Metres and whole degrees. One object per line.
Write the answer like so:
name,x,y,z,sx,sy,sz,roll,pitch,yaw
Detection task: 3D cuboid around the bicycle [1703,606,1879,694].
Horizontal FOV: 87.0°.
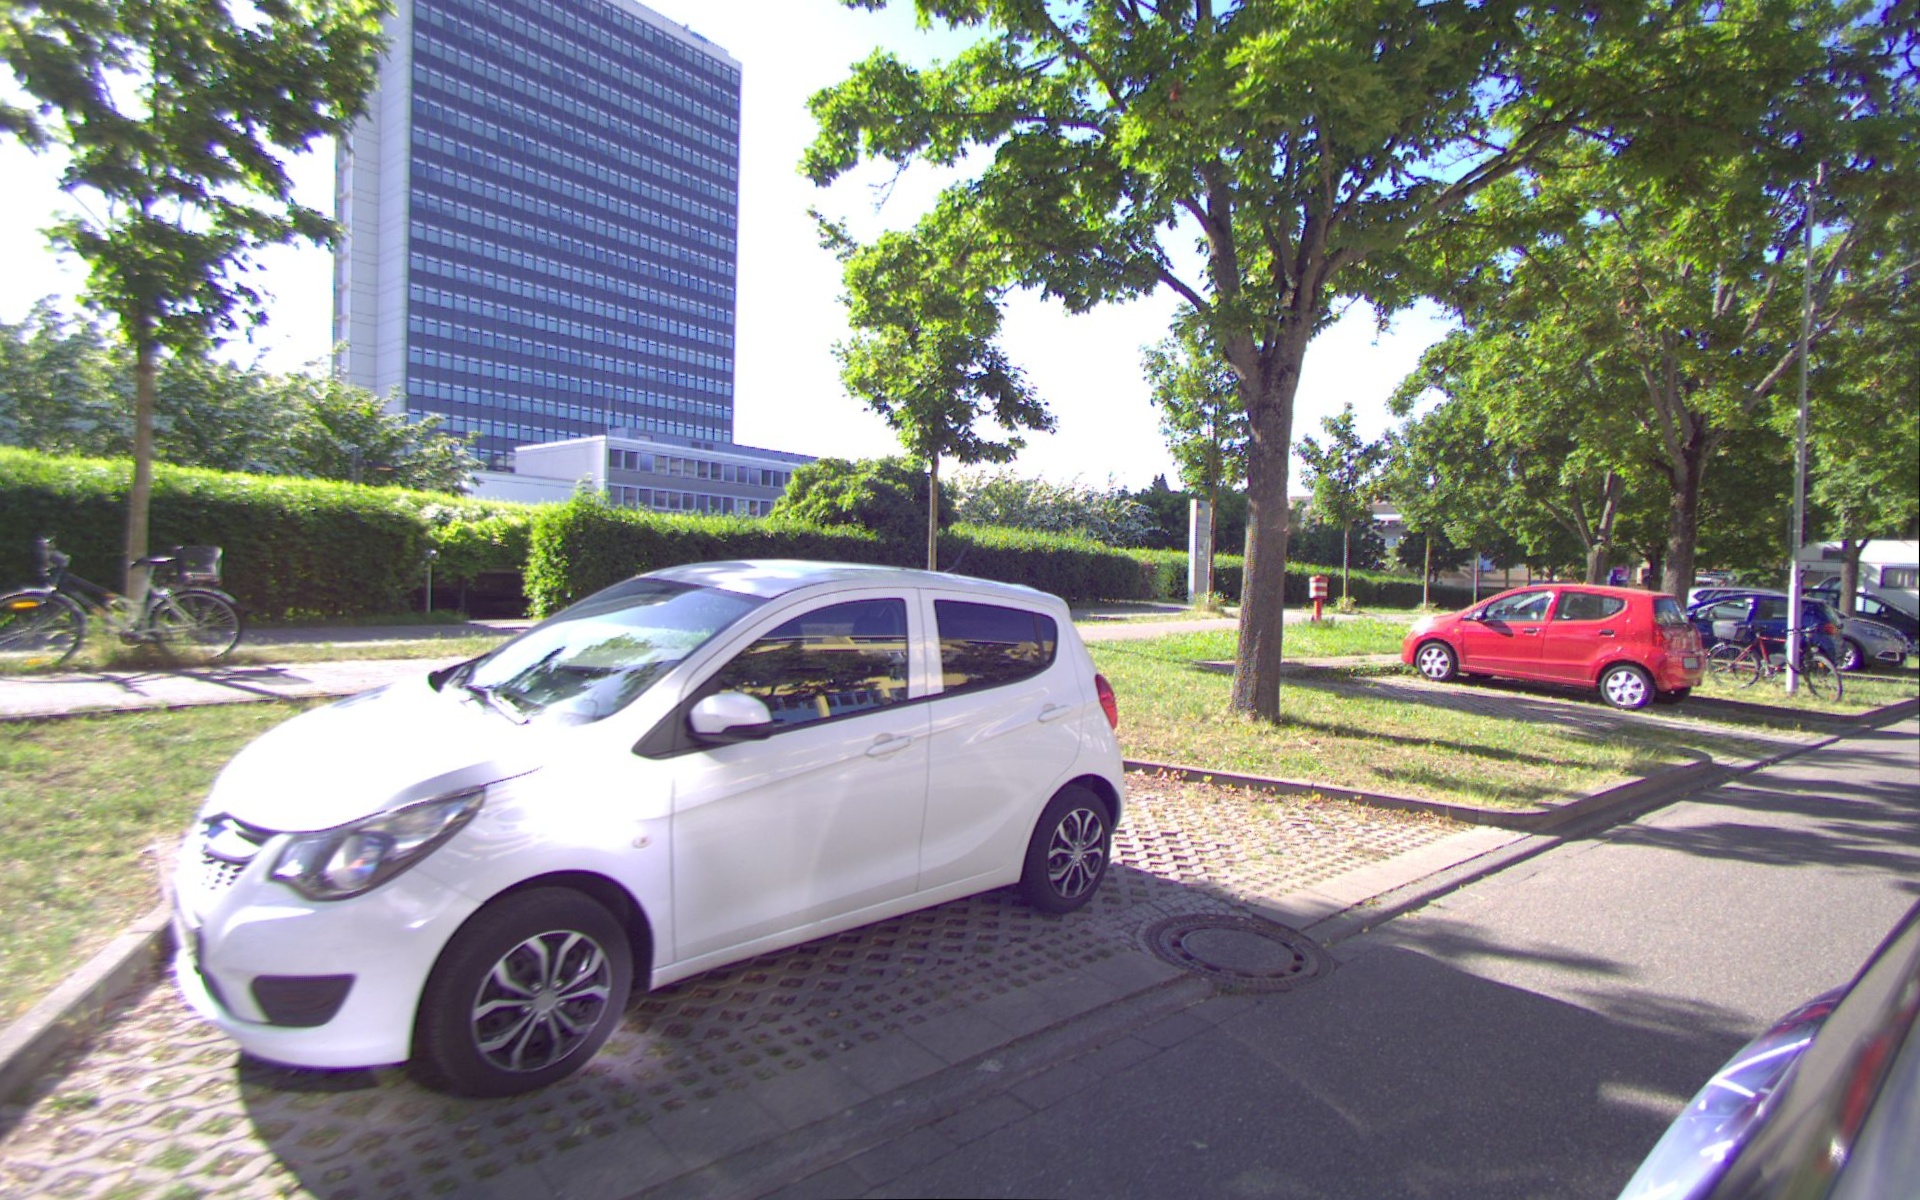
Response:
bicycle,11.312,0.646,13.849,0.519,1.003,1.760,1,3,-26

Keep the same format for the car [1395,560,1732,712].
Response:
car,7.919,0.361,13.538,1.597,1.562,3.447,1,5,-37

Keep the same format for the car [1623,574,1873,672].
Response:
car,15.175,0.362,19.614,1.827,1.497,3.470,0,5,-41

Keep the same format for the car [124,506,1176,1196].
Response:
car,-0.926,0.509,4.100,3.702,1.511,1.646,0,4,-43

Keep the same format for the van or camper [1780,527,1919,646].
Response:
van or camper,26.106,-0.304,26.994,2.623,3.019,5.999,0,4,-39

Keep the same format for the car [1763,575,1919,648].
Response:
car,23.330,0.304,25.773,1.826,1.564,4.160,0,5,-40

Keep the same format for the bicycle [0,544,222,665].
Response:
bicycle,-6.779,0.011,8.107,0.344,0.877,1.396,3,2,27

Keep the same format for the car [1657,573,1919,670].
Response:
car,17.400,0.360,21.174,1.824,1.564,4.209,1,4,-37
